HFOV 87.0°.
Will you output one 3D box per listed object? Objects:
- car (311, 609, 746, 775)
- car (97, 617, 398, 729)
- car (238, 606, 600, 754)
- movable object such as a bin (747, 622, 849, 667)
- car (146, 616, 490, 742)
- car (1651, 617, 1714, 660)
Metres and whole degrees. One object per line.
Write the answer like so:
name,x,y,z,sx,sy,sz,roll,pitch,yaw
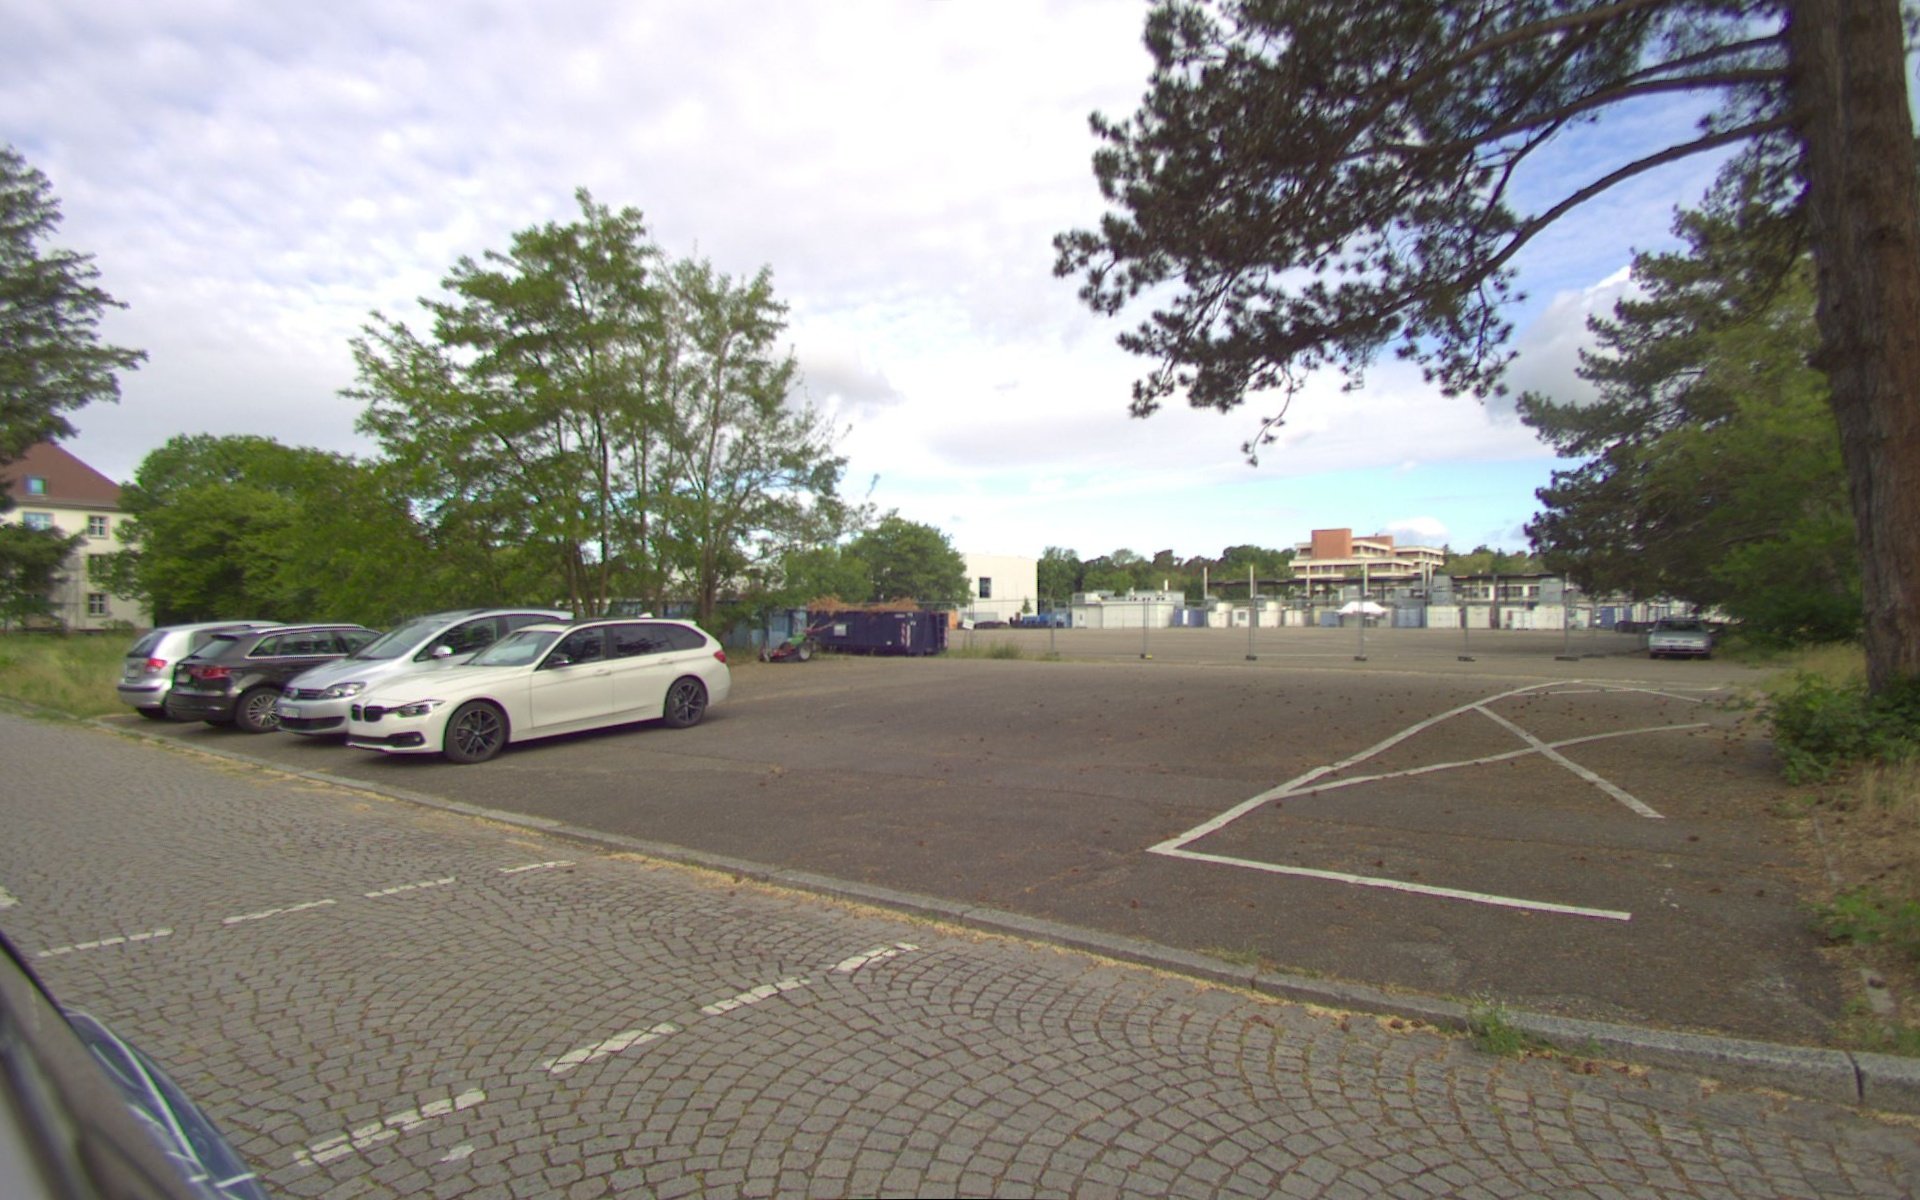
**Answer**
car,-4.945,0.930,12.301,1.797,1.454,4.609,-1,1,34
car,-11.615,1.098,16.709,1.803,1.463,3.648,-1,1,33
car,-7.095,0.934,13.660,1.719,1.559,3.955,-1,1,33
movable object such as a bin,-4.440,1.198,27.780,1.500,1.170,2.365,-1,-2,43
car,-9.394,1.057,15.091,1.748,1.438,3.951,-1,1,37
car,25.218,1.305,35.328,1.694,1.403,3.951,-1,-1,36
